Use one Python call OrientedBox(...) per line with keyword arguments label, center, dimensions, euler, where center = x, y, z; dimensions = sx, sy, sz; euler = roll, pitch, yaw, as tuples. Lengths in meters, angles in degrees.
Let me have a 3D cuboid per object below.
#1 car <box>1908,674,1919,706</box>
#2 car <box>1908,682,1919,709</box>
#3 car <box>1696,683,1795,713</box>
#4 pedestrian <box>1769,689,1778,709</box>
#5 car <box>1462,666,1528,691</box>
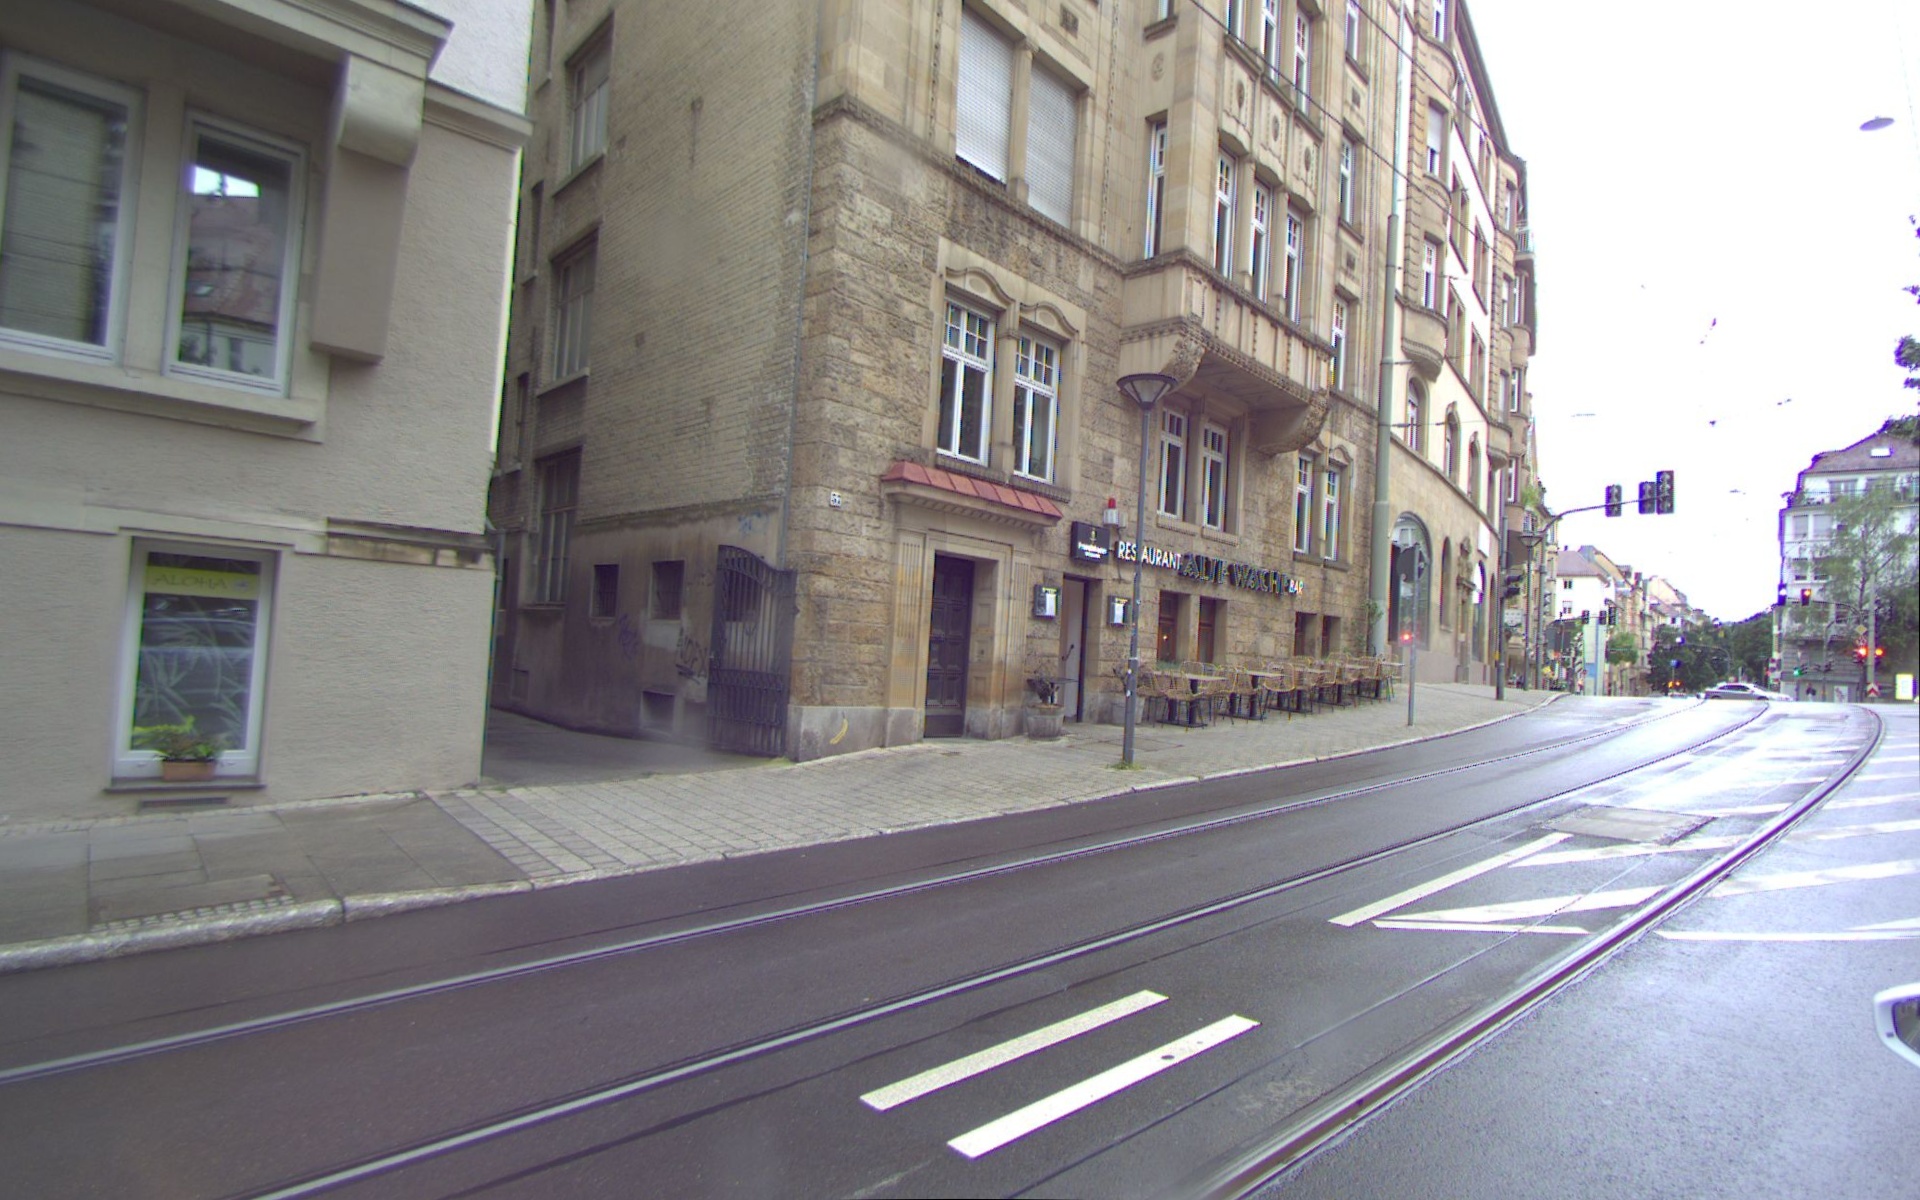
OrientedBox(label="car", center=(50.078, 4.542, 50.993), dimensions=(3.954, 1.530, 1.786), euler=(2, -4, -31))
OrientedBox(label="car", center=(61.279, 5.913, 62.193), dimensions=(3.930, 1.635, 1.796), euler=(1, -2, -12))
OrientedBox(label="car", center=(48.473, 6.021, 62.075), dimensions=(1.771, 1.530, 4.649), euler=(1, -2, -17))
OrientedBox(label="pedestrian", center=(73.081, 8.877, 90.232), dimensions=(0.640, 1.683, 0.647), euler=(1, -1, 40))
OrientedBox(label="car", center=(37.234, 5.443, 69.905), dimensions=(3.932, 1.530, 1.795), euler=(-1, -2, 33))
